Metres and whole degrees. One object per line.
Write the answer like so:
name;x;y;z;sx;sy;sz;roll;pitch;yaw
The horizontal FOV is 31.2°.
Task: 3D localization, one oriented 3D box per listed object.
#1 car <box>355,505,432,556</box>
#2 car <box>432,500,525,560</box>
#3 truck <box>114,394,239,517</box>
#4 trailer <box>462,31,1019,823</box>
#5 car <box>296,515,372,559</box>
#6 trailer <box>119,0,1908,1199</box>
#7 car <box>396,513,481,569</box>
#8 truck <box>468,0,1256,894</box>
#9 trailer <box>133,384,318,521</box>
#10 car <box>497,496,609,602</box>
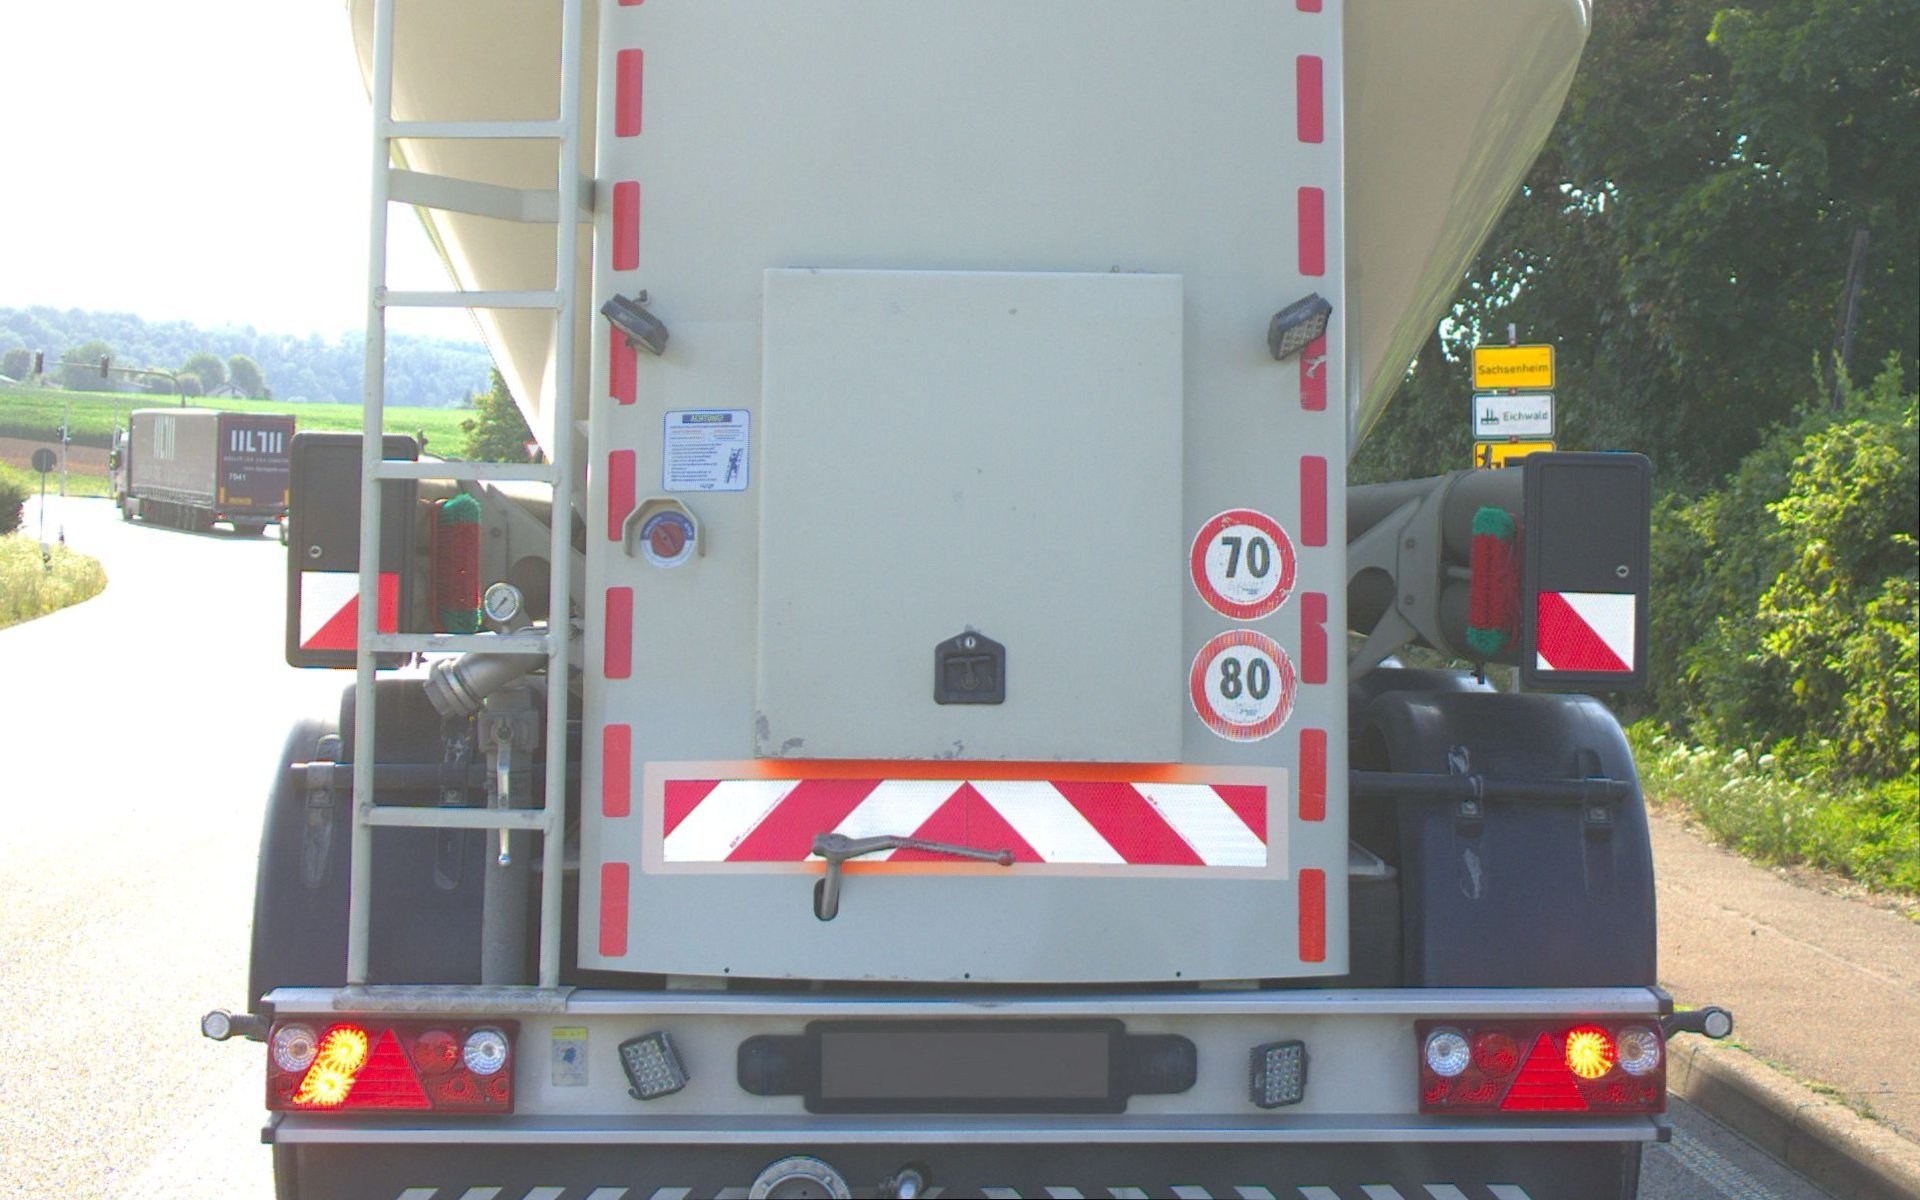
car;-15.821;-1.944;95.894;1.580;1.336;3.427;2;1;-18
car;-11.443;-1.676;81.499;1.580;1.336;3.427;2;1;-18
truck;-29.054;-5.324;127.274;3.375;4.335;5.707;2;1;-24
trailer;-1.277;-1.105;26.208;2.955;4.300;14.176;2;1;0
car;-18.598;-1.877;102.057;1.769;1.201;3.427;2;1;-18
trailer;-0.199;-0.845;10.567;2.909;3.992;9.932;1;1;-4
car;-13.320;-1.514;87.669;1.580;1.336;3.427;2;1;-18
truck;-0.500;-0.939;14.898;2.909;3.992;4.060;1;1;-4
trailer;-25.682;-5.069;119.477;3.375;4.335;14.297;2;1;-24
car;-7.994;-1.019;67.281;1.861;2.007;3.720;1;1;-11
